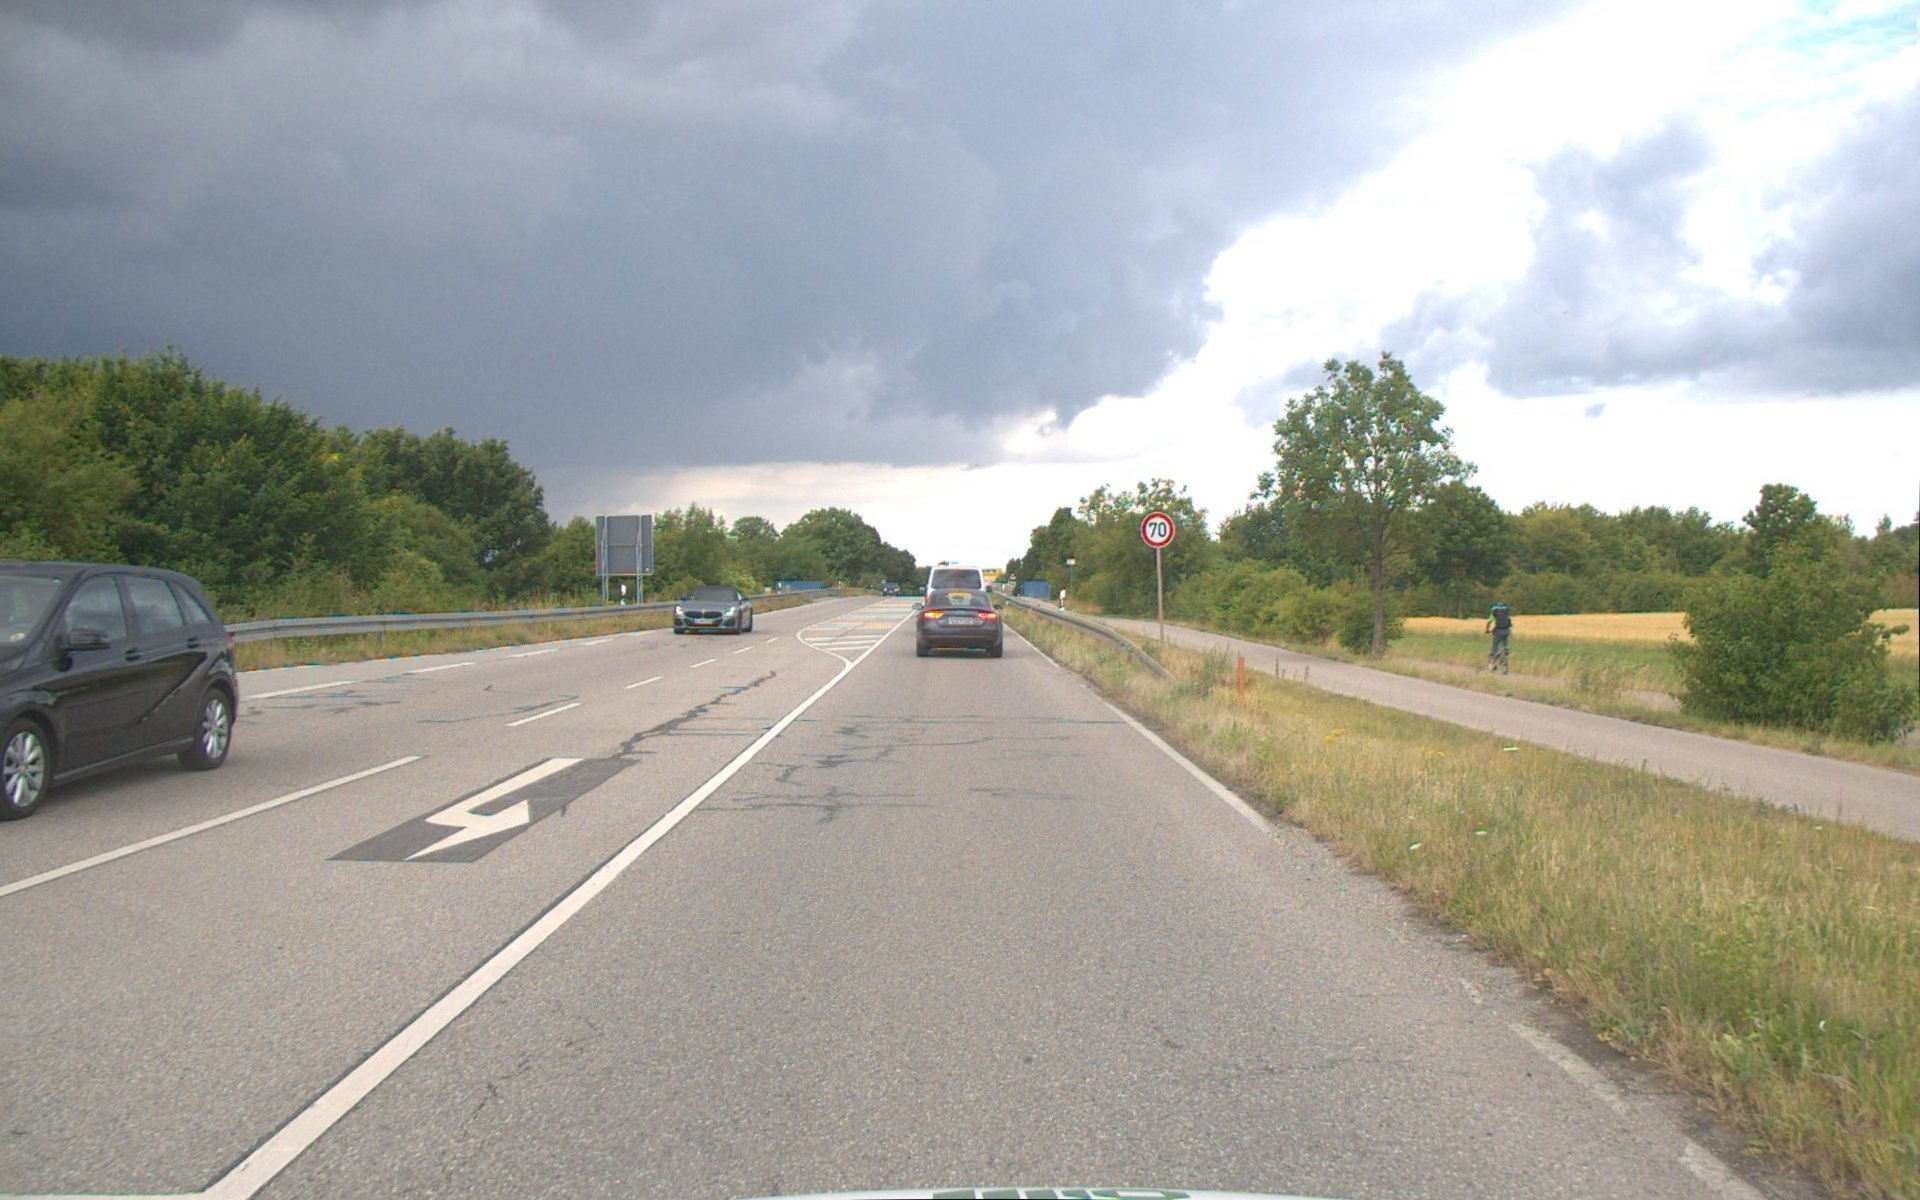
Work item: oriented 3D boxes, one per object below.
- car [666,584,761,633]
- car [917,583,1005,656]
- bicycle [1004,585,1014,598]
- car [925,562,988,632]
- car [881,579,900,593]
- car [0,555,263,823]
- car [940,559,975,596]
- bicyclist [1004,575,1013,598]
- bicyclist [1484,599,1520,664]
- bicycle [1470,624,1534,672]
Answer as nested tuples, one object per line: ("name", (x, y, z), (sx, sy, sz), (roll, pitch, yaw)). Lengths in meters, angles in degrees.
("car", (-6.895, 0.213, 46.703), (2.120, 1.307, 4.236), (1, 1, -1))
("car", (0.011, 0.387, 35.255), (1.749, 1.448, 4.000), (1, 0, 0))
("bicycle", (3.579, -0.621, 121.862), (0.652, 0.936, 1.830), (0, 0, 0))
("car", (-0.107, -0.095, 48.335), (1.749, 1.923, 4.000), (1, 0, 0))
("car", (-7.373, -1.457, 176.356), (1.824, 1.400, 4.000), (2, 0, 0))
("car", (-6.455, 0.493, 11.237), (1.706, 1.557, 4.198), (1, 1, -1))
("car", (-0.173, -1.614, 118.040), (2.397, 2.548, 5.041), (1, 1, 0))
("bicyclist", (3.580, -0.983, 121.932), (0.634, 1.674, 0.866), (0, 0, -1))
("bicyclist", (13.675, 0.782, 41.745), (0.642, 1.608, 0.744), (1, -1, -1))
("bicycle", (13.672, 1.193, 41.776), (0.642, 1.158, 2.830), (1, 0, -1))
